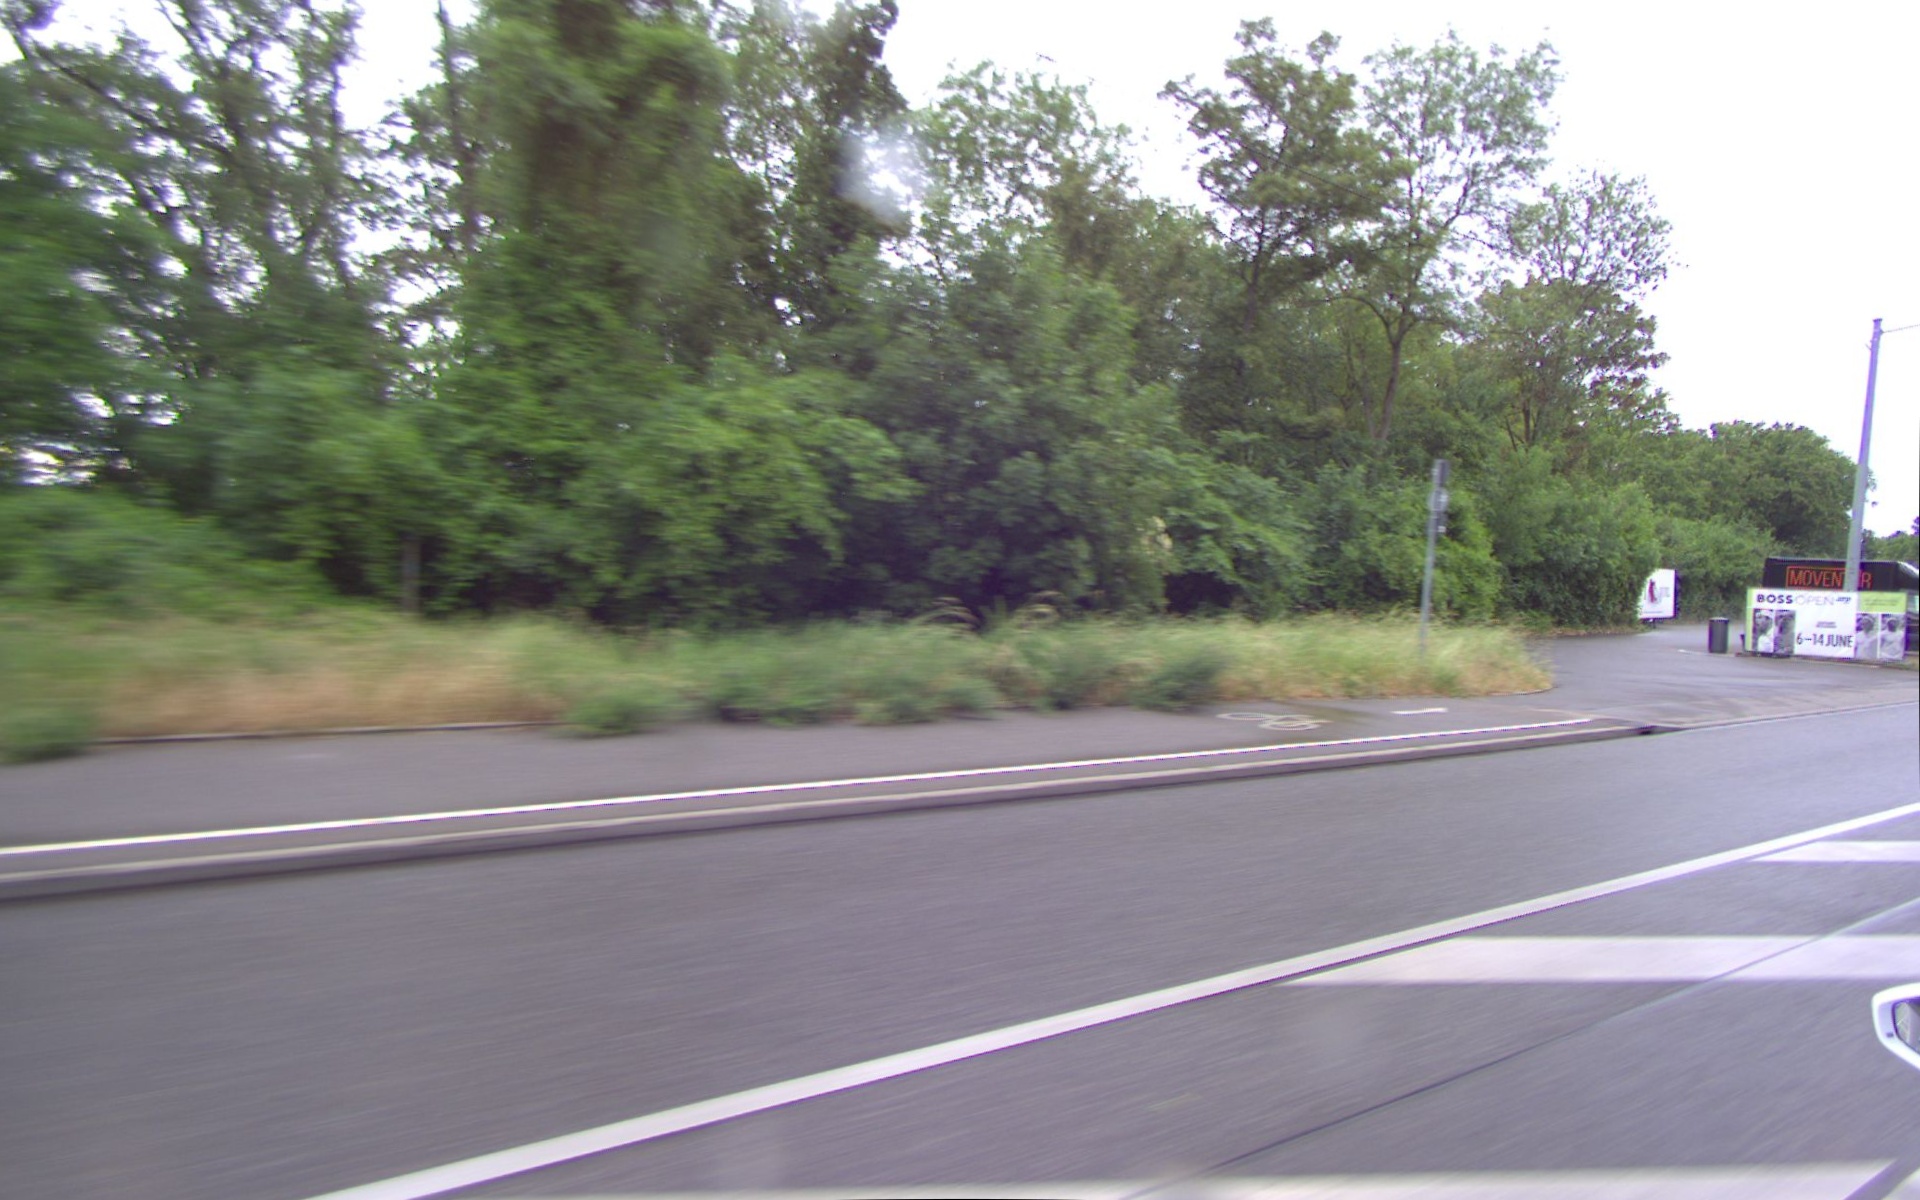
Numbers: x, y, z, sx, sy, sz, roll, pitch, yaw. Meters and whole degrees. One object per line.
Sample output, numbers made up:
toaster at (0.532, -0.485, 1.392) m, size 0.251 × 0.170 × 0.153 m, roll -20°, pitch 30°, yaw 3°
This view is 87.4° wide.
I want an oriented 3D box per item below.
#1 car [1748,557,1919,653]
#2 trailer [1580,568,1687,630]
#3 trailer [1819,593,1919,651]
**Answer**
car at (32.071, 0.162, 35.451) m, size 2.730 × 3.155 × 6.218 m, roll 2°, pitch 1°, yaw -40°
trailer at (34.057, -0.036, 50.628) m, size 7.914 × 2.912 × 2.454 m, roll 1°, pitch 1°, yaw -41°
trailer at (36.149, 0.842, 38.986) m, size 1.856 × 2.080 × 3.957 m, roll 1°, pitch 1°, yaw -37°
